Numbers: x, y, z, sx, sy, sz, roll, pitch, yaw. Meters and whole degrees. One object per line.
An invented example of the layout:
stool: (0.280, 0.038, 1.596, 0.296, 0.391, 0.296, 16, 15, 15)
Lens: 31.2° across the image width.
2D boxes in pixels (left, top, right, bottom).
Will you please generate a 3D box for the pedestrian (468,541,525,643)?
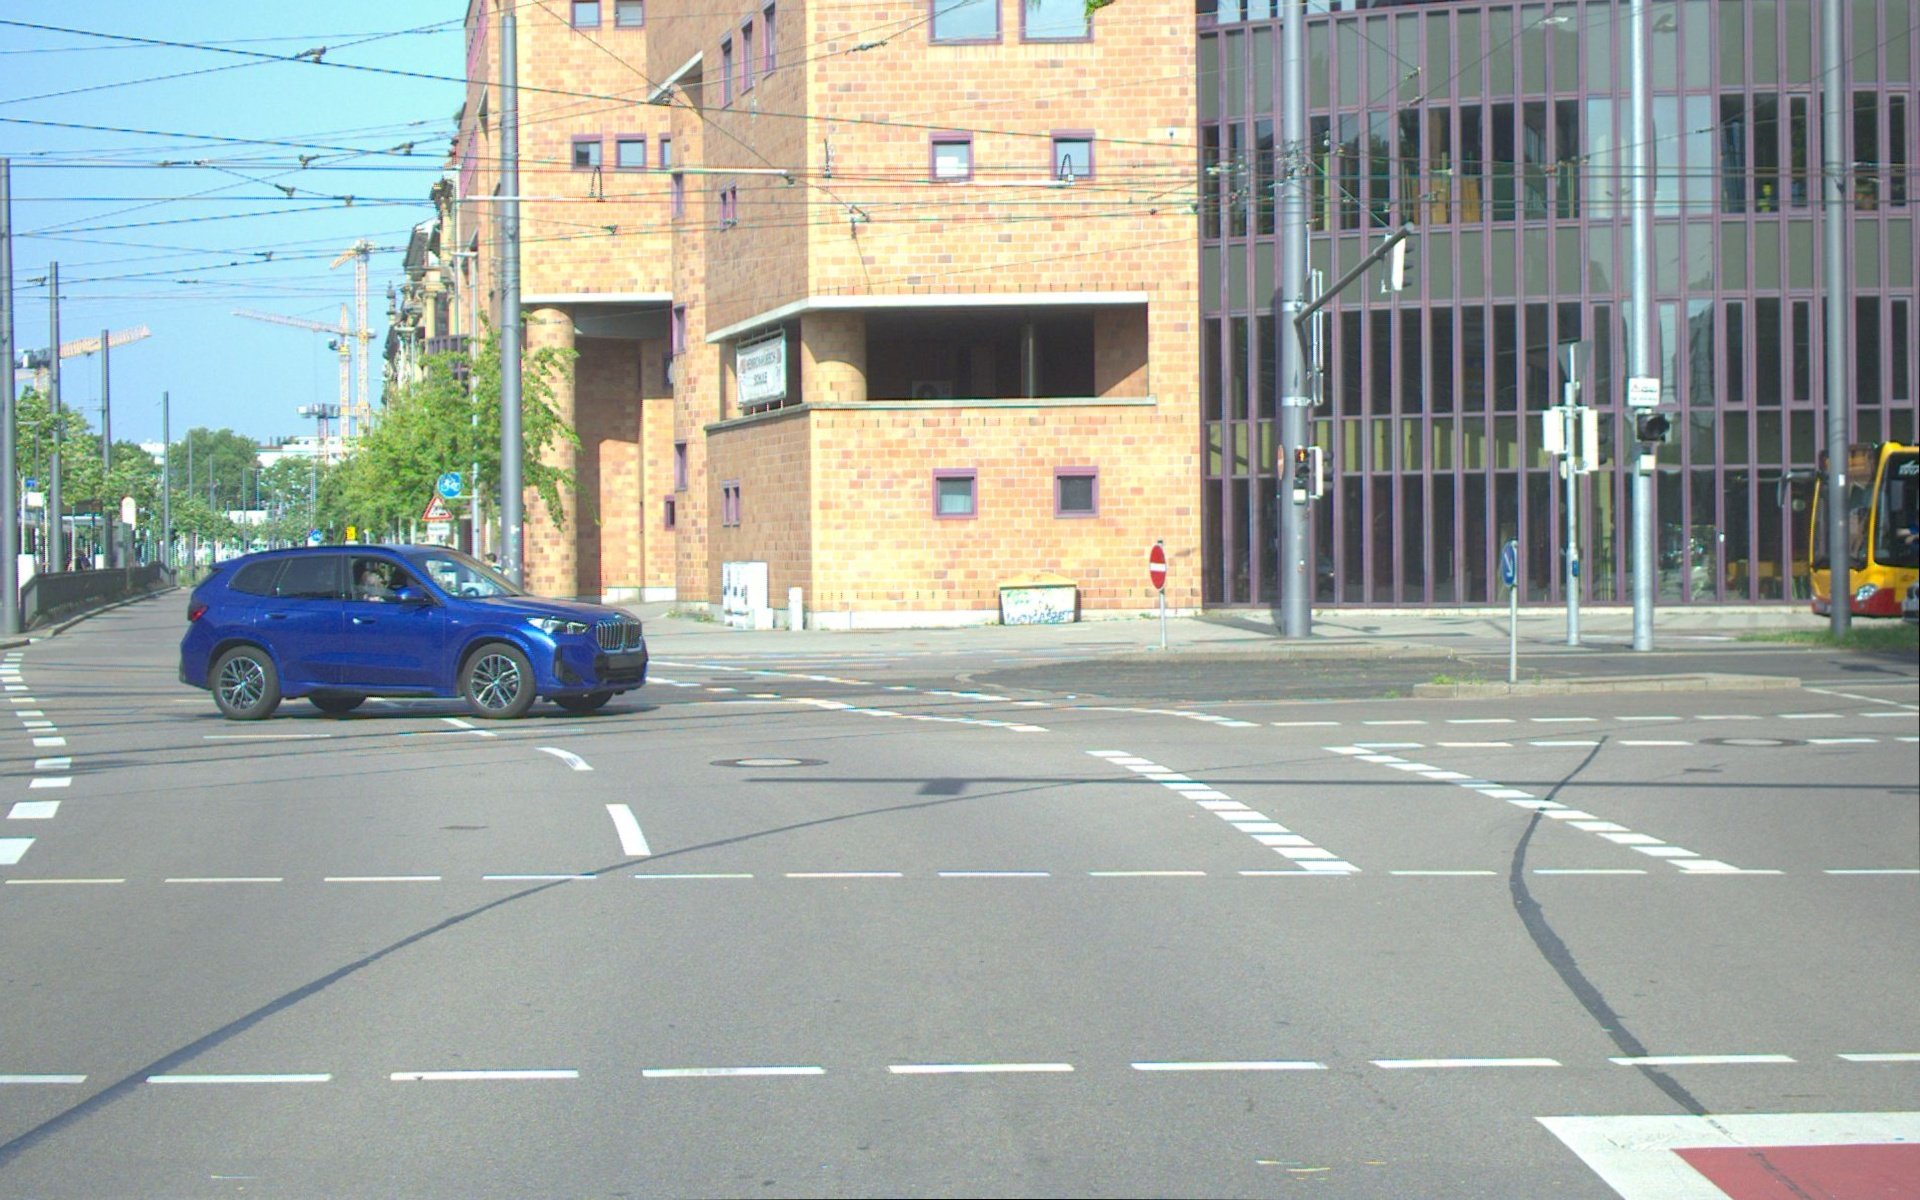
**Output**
pedestrian: (-9.183, -0.157, 68.096, 0.841, 2.007, 0.810, 0, 1, 15)

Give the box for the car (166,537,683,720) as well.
car: (-5.036, 0.285, 32.378, 4.404, 1.630, 1.990, -1, -1, 22)

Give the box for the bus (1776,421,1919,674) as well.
bus: (21.870, -0.872, 54.393, 17.605, 3.797, 2.866, -1, -1, -9)

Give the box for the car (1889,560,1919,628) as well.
car: (14.475, -0.106, 49.399, 1.951, 0.955, 1.094, -1, 1, -1)

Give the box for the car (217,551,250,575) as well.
car: (-48.321, -2.461, 228.663, 2.073, 1.537, 4.415, -1, -1, -12)

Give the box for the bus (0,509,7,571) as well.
bus: (-32.560, -1.978, 113.379, 1.993, 2.007, 4.001, 0, 1, -13)
